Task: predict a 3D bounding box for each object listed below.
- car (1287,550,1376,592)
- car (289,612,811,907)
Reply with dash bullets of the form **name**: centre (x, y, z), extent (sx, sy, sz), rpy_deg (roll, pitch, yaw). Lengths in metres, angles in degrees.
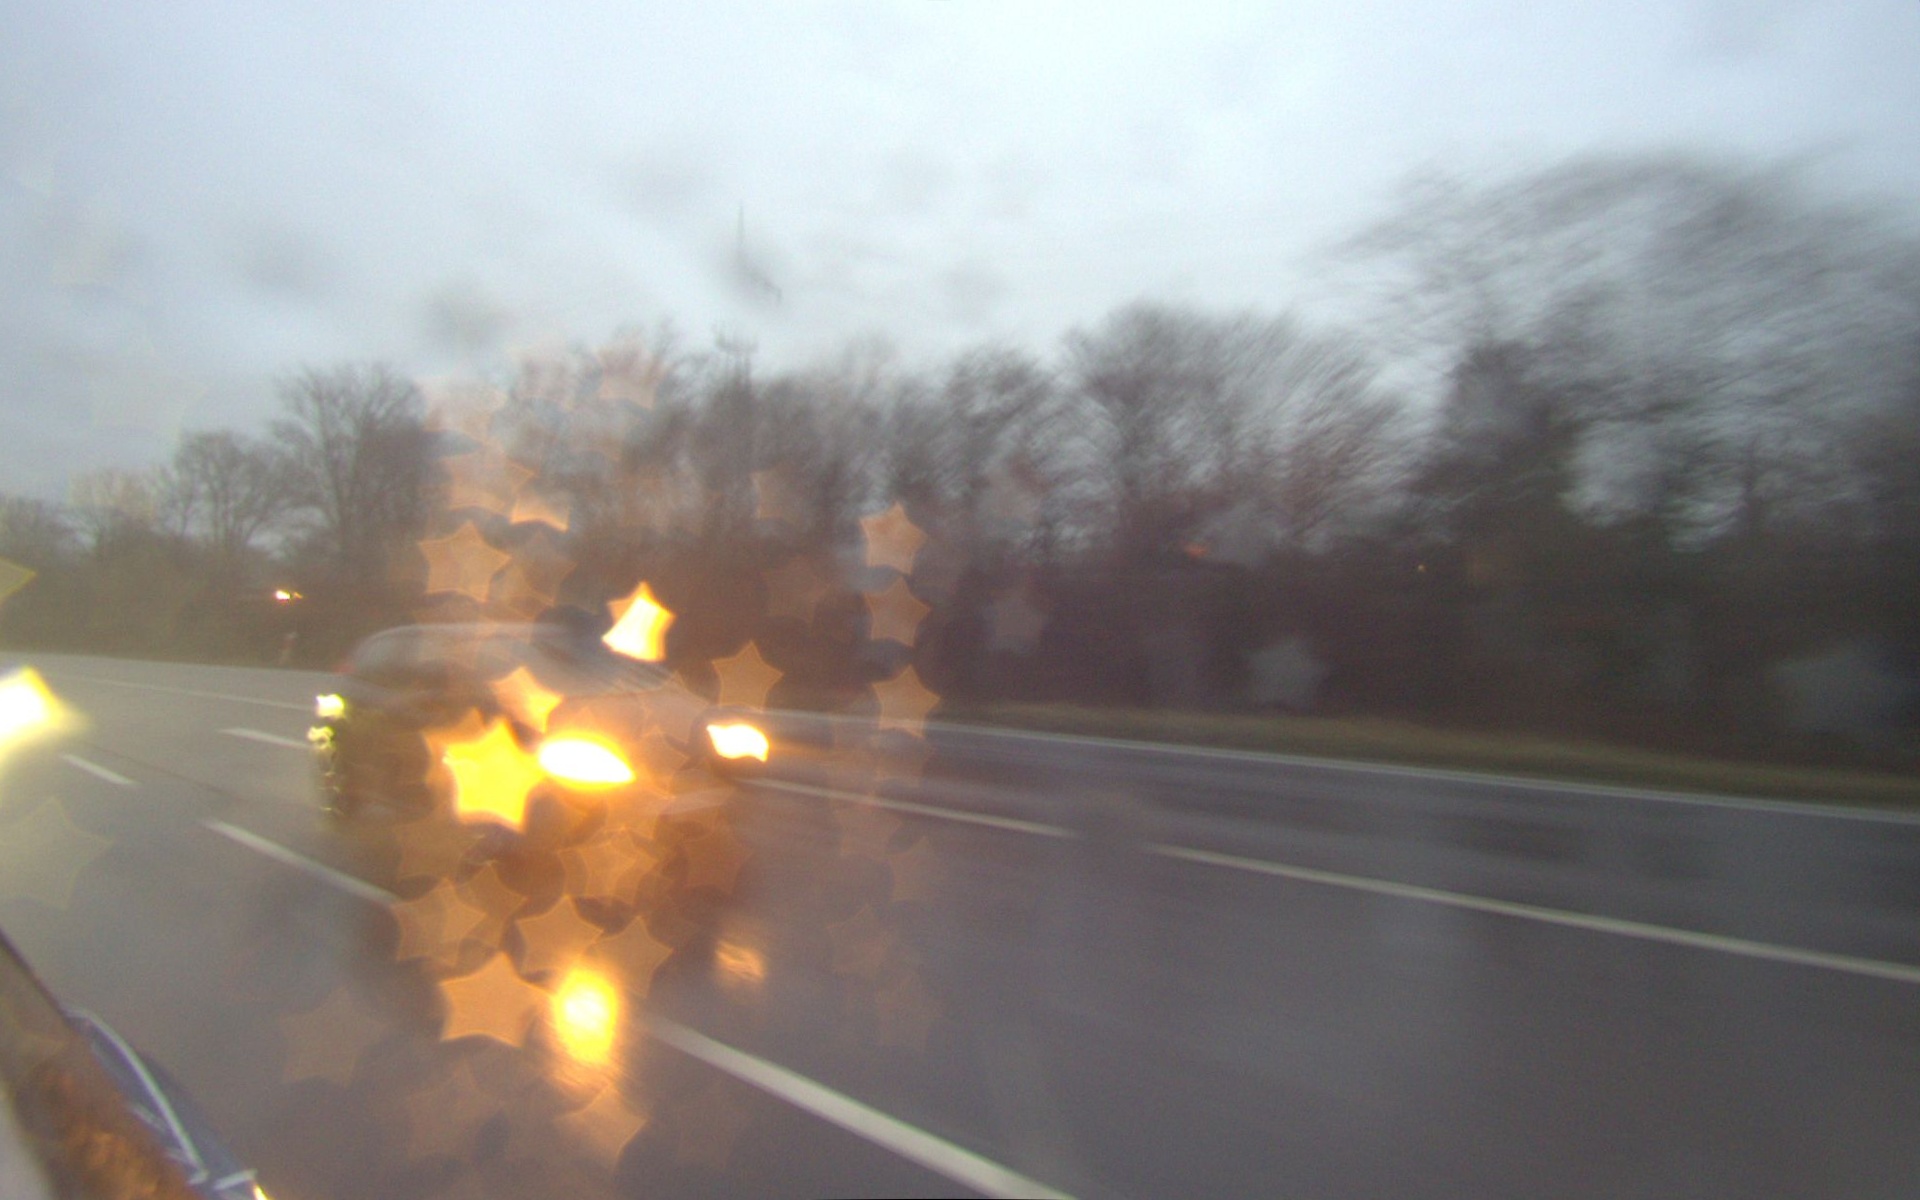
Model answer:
- **car**: centre (19.250, -1.472, 52.452), extent (4.202, 2.029, 1.985), rpy_deg (-1, 1, 23)
- **car**: centre (-3.037, 0.836, 7.026), extent (4.168, 1.432, 1.615), rpy_deg (-1, 0, 41)
